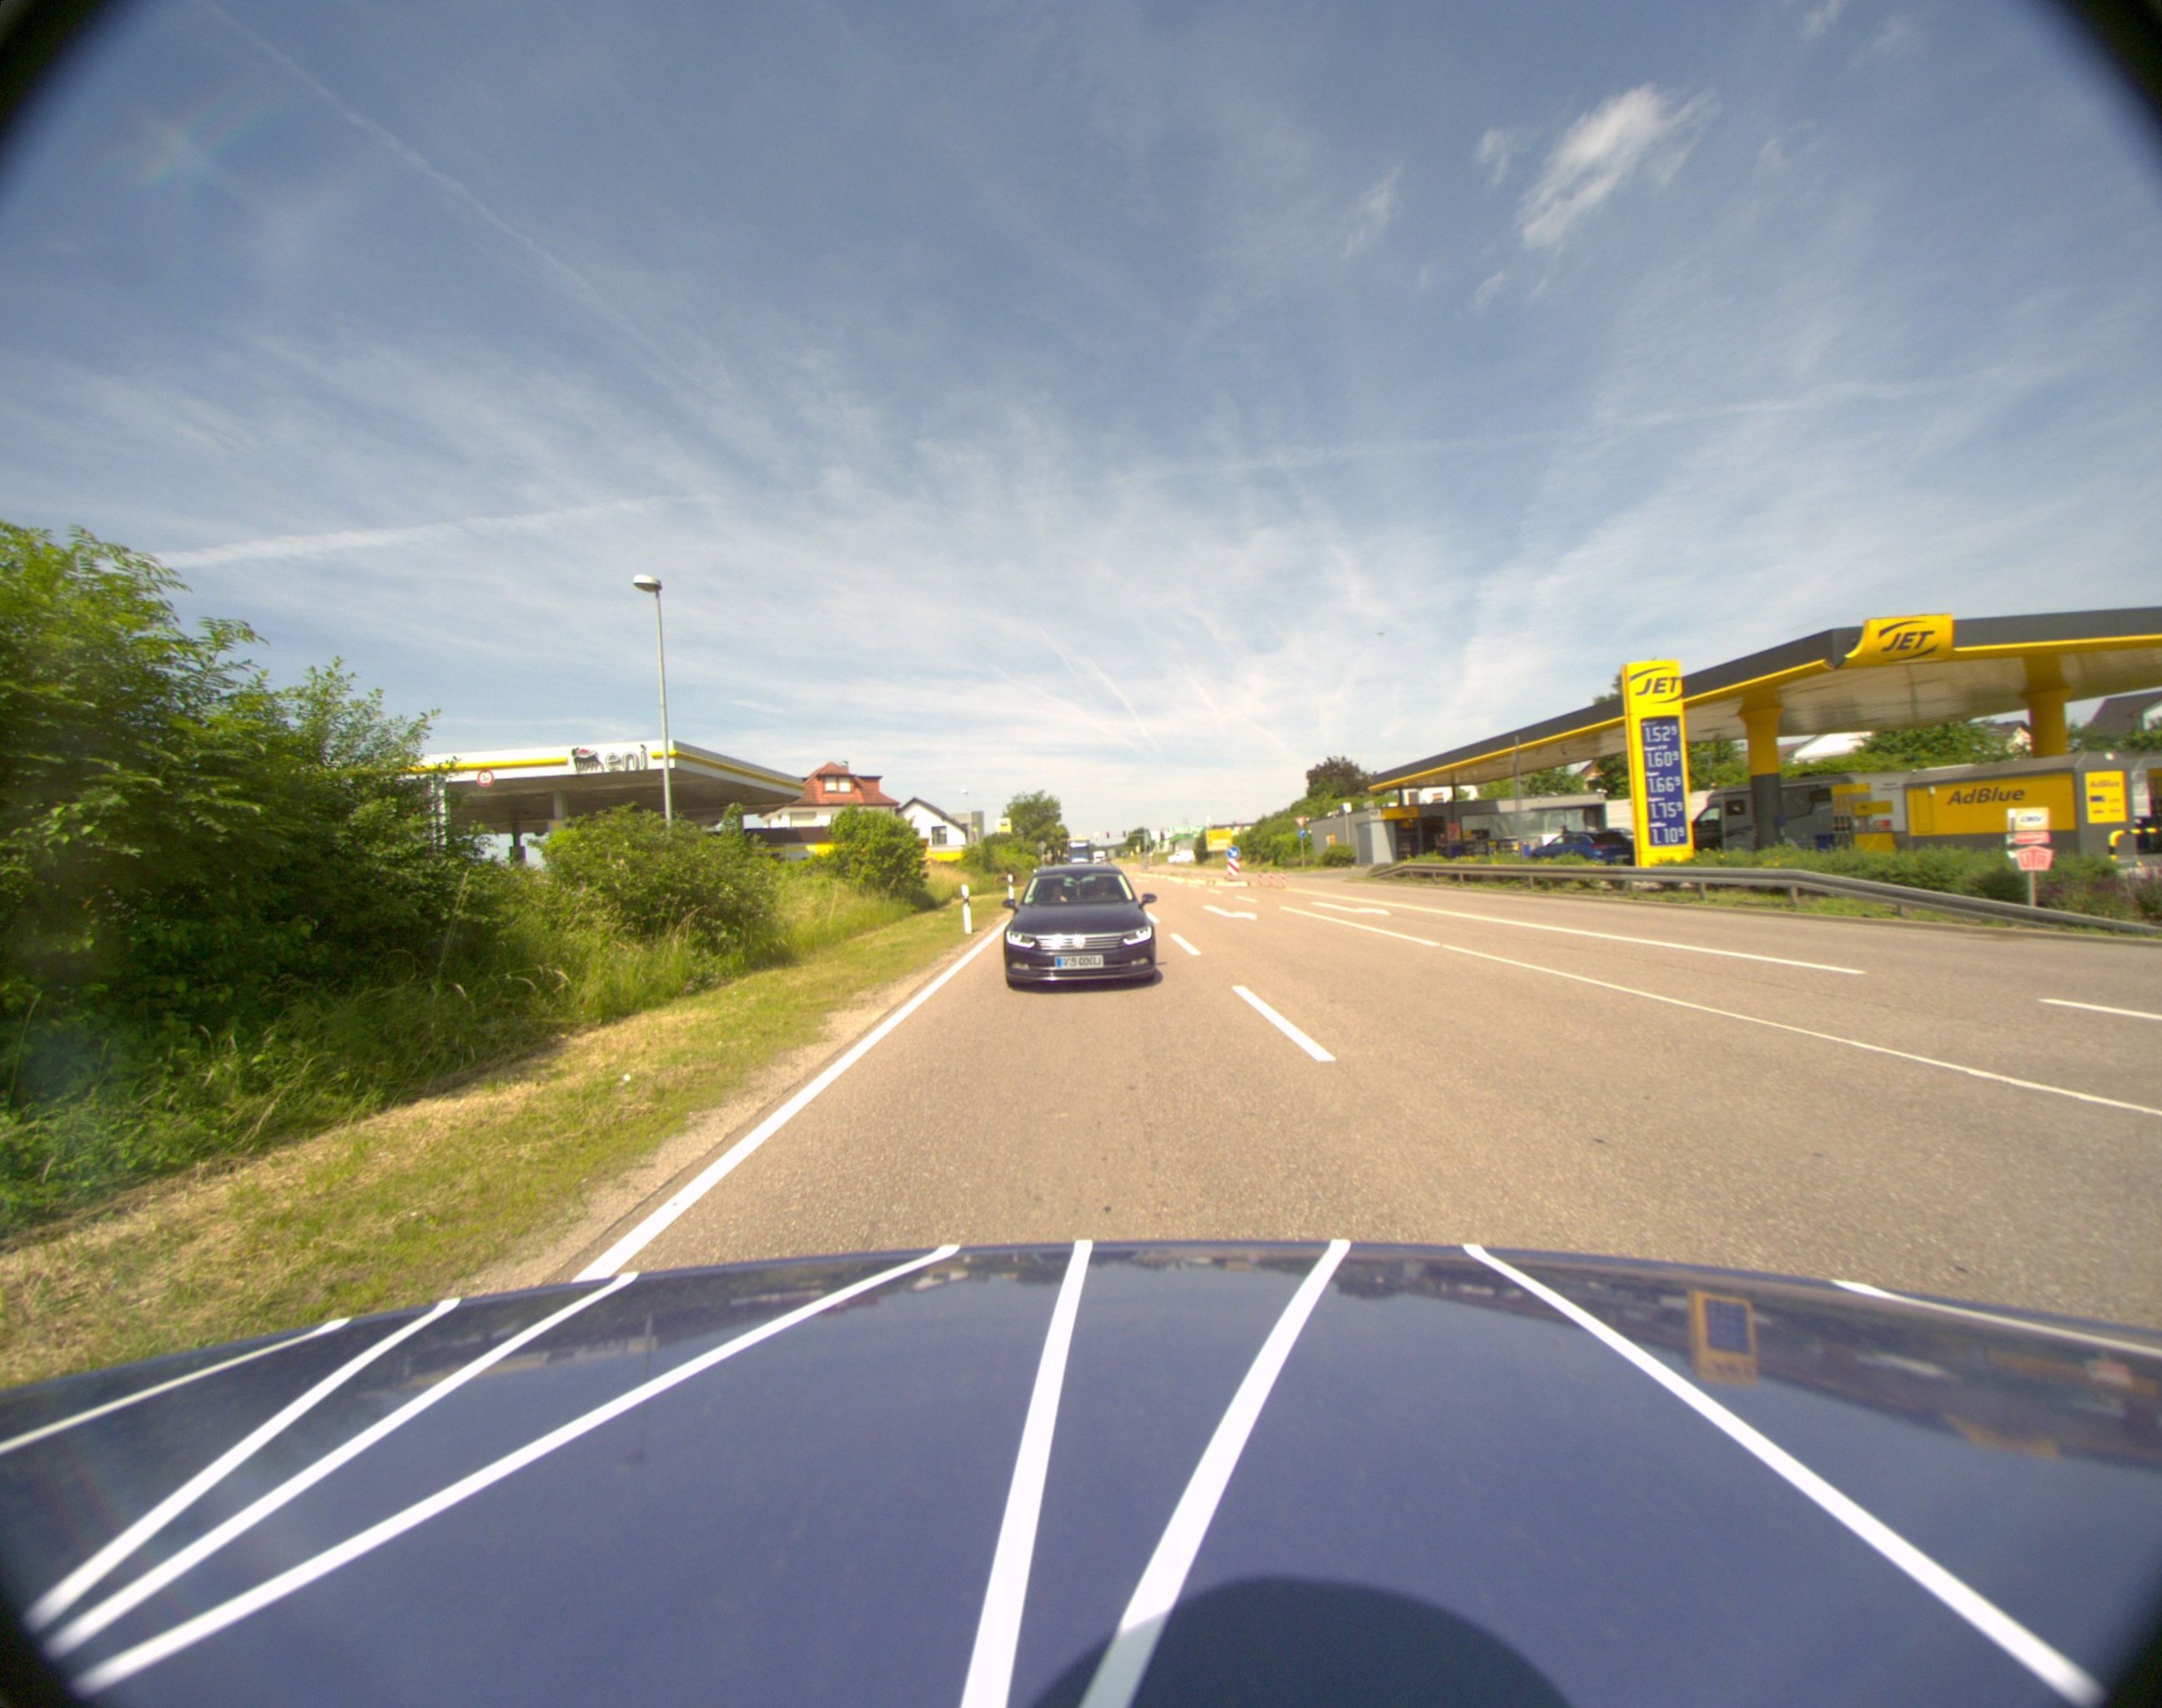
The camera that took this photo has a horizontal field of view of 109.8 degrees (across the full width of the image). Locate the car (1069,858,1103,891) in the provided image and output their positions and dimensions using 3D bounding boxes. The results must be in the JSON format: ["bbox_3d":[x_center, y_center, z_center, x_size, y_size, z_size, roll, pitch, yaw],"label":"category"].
[{"bbox_3d":[0.267,0.937,36.687,1.471,1.451,3.797,-2,0,2],"label":"car"}]

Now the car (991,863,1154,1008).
[{"bbox_3d":[-0.053,0.945,10.934,1.756,1.493,4.925,-2,0,1],"label":"car"}]

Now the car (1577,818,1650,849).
[{"bbox_3d":[32.044,-1.221,45.888,1.619,1.724,3.987,-3,1,1],"label":"car"}]

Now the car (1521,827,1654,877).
[{"bbox_3d":[18.884,-0.045,28.595,1.999,1.696,4.264,-2,0,-3],"label":"car"}]

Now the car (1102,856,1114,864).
[{"bbox_3d":[4.243,0.944,118.040,1.786,1.210,4.000,-3,0,2],"label":"car"}]

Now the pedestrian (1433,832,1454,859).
[{"bbox_3d":[19.525,-0.468,40.955,0.913,1.419,0.495,-3,1,19],"label":"pedestrian"}]

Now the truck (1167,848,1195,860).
[{"bbox_3d":[18.491,0.012,140.601,4.772,1.997,1.999,-4,0,-4],"label":"truck"}]

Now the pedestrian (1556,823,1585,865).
[{"bbox_3d":[21.861,-0.428,33.919,0.798,1.827,0.640,-3,0,1],"label":"pedestrian"}]

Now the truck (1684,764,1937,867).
[{"bbox_3d":[23.685,-1.147,25.206,2.250,2.906,6.282,-3,1,-1],"label":"truck"}]

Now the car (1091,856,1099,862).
[{"bbox_3d":[3.795,1.219,203.814,1.847,1.477,4.001,-3,0,3],"label":"car"}]

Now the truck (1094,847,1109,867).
[{"bbox_3d":[4.209,0.574,158.917,2.855,3.999,12.916,-2,0,1],"label":"truck"}]

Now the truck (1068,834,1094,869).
[{"bbox_3d":[0.147,-0.287,93.772,2.855,3.999,12.916,-2,0,1],"label":"truck"}]

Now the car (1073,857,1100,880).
[{"bbox_3d":[0.414,0.978,53.323,1.814,1.466,3.974,-2,0,1],"label":"car"}]
